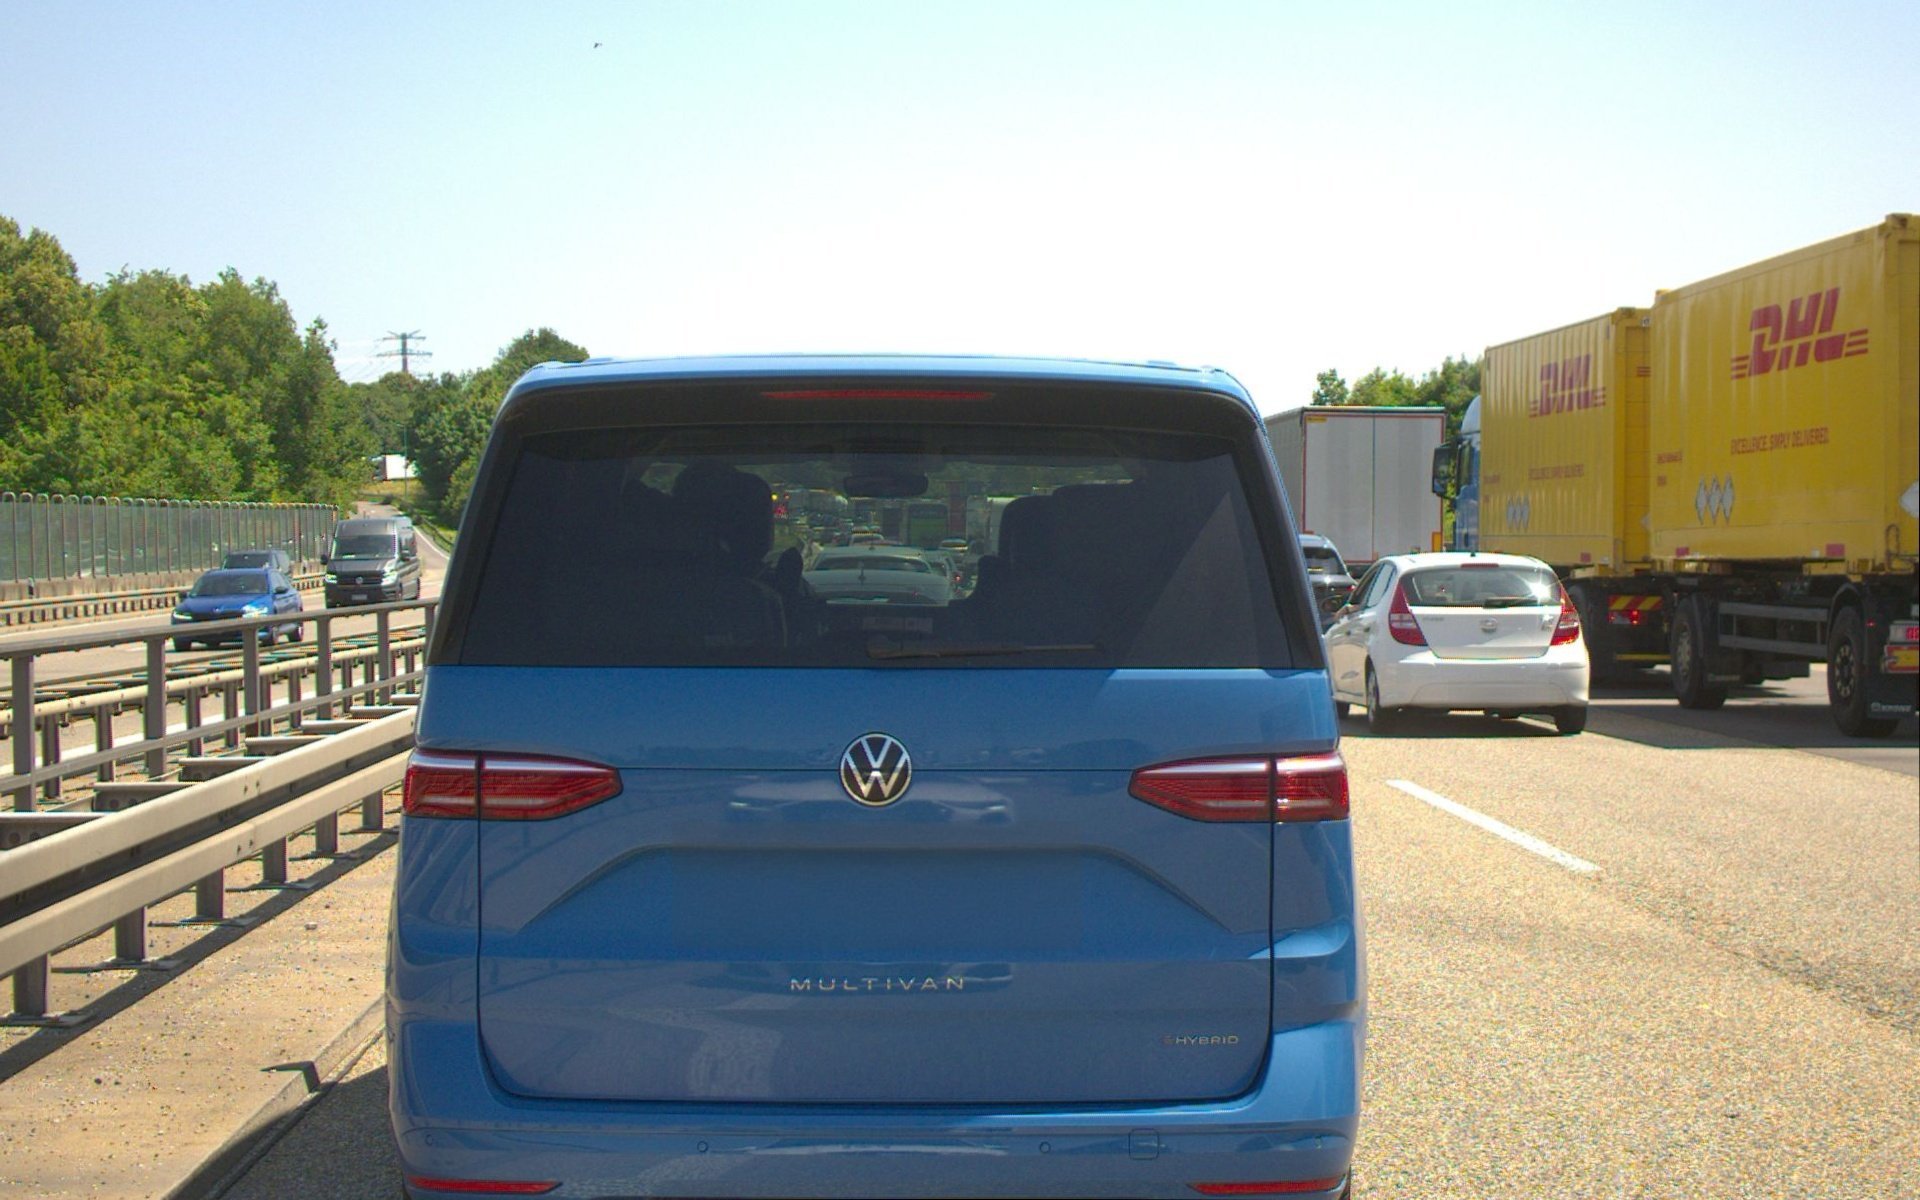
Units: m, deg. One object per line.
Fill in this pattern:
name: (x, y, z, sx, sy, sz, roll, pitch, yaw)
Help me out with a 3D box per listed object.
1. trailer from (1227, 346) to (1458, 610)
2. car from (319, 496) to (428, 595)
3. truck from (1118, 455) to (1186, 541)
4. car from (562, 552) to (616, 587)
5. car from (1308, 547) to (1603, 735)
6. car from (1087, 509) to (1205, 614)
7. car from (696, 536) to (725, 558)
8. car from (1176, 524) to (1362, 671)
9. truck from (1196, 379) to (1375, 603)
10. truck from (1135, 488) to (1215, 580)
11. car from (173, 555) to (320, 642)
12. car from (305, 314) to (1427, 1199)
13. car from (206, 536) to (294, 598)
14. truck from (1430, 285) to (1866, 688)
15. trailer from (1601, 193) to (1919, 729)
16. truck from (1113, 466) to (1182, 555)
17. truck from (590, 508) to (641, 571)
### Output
trailer: (7.148, -2.198, 65.907, 3.026, 4.595, 10.925, 1, 0, -1)
car: (-16.153, -1.483, 94.999, 1.993, 2.573, 6.651, -2, 1, -2)
truck: (6.013, -3.164, 107.888, 1.797, 2.587, 4.306, 1, 0, -1)
car: (-17.209, -1.412, 159.612, 1.993, 1.539, 4.386, -2, 1, -1)
car: (4.122, 0.311, 29.186, 1.815, 1.465, 3.932, 1, 0, -2)
car: (3.544, -0.732, 66.126, 1.962, 1.929, 3.932, 1, 0, -1)
car: (-17.634, -3.738, 243.319, 1.762, 1.503, 4.223, -1, 1, 0)
car: (3.695, -0.047, 41.674, 1.815, 1.673, 3.932, 1, 0, -1)
truck: (7.032, -2.301, 75.349, 3.026, 4.595, 7.921, 1, 0, -1)
truck: (5.844, -1.775, 93.833, 1.798, 2.441, 4.504, 1, 0, -1)
car: (-13.191, -0.063, 63.796, 1.772, 1.486, 4.605, -1, 1, -1)
car: (-0.202, 0.433, 7.981, 1.930, 1.867, 4.000, 1, 0, -1)
car: (-22.818, -1.062, 110.663, 1.957, 1.899, 4.951, -2, 1, -2)
truck: (7.715, -1.204, 40.109, 2.699, 4.074, 9.941, 1, 0, -2)
trailer: (8.105, -1.083, 30.697, 2.682, 4.074, 8.981, 1, 0, -2)
truck: (5.573, -2.645, 102.796, 1.742, 2.540, 4.210, 1, 0, -1)
truck: (-23.324, -4.044, 232.886, 2.672, 4.170, 6.287, -1, 0, 1)
